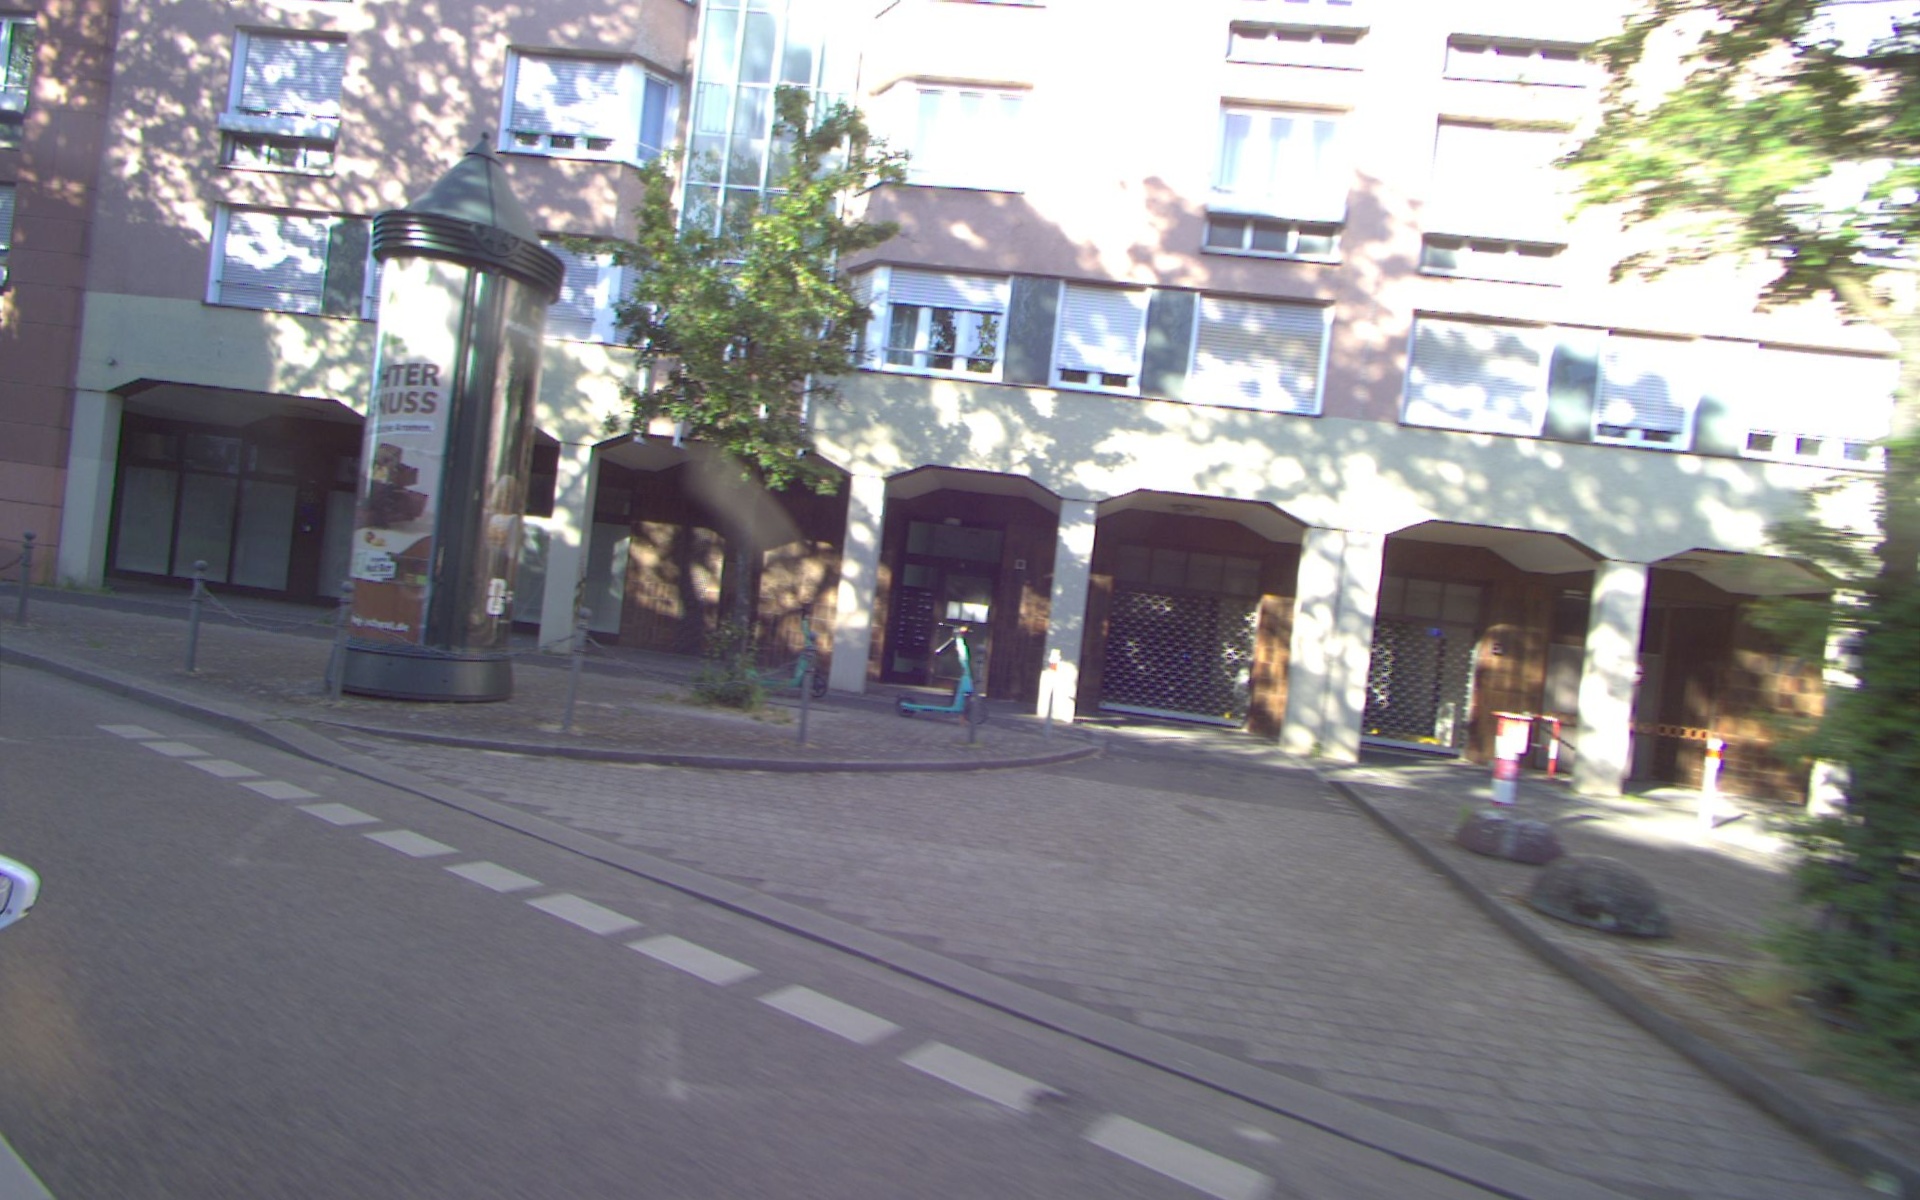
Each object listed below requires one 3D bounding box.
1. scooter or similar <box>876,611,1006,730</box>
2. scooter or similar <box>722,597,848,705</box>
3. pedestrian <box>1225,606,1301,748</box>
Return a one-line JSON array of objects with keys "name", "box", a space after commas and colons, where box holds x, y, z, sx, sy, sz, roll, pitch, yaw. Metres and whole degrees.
[{"name": "scooter or similar", "box": [-0.233, 0.868, 12.605, 1.423, 1.289, 0.486, 7, 0, 9]}, {"name": "scooter or similar", "box": [-2.307, 0.665, 13.297, 1.423, 1.231, 0.486, 7, 0, 9]}, {"name": "pedestrian", "box": [4.589, 1.151, 15.207, 0.832, 2.005, 0.818, 7, 0, 20]}]
